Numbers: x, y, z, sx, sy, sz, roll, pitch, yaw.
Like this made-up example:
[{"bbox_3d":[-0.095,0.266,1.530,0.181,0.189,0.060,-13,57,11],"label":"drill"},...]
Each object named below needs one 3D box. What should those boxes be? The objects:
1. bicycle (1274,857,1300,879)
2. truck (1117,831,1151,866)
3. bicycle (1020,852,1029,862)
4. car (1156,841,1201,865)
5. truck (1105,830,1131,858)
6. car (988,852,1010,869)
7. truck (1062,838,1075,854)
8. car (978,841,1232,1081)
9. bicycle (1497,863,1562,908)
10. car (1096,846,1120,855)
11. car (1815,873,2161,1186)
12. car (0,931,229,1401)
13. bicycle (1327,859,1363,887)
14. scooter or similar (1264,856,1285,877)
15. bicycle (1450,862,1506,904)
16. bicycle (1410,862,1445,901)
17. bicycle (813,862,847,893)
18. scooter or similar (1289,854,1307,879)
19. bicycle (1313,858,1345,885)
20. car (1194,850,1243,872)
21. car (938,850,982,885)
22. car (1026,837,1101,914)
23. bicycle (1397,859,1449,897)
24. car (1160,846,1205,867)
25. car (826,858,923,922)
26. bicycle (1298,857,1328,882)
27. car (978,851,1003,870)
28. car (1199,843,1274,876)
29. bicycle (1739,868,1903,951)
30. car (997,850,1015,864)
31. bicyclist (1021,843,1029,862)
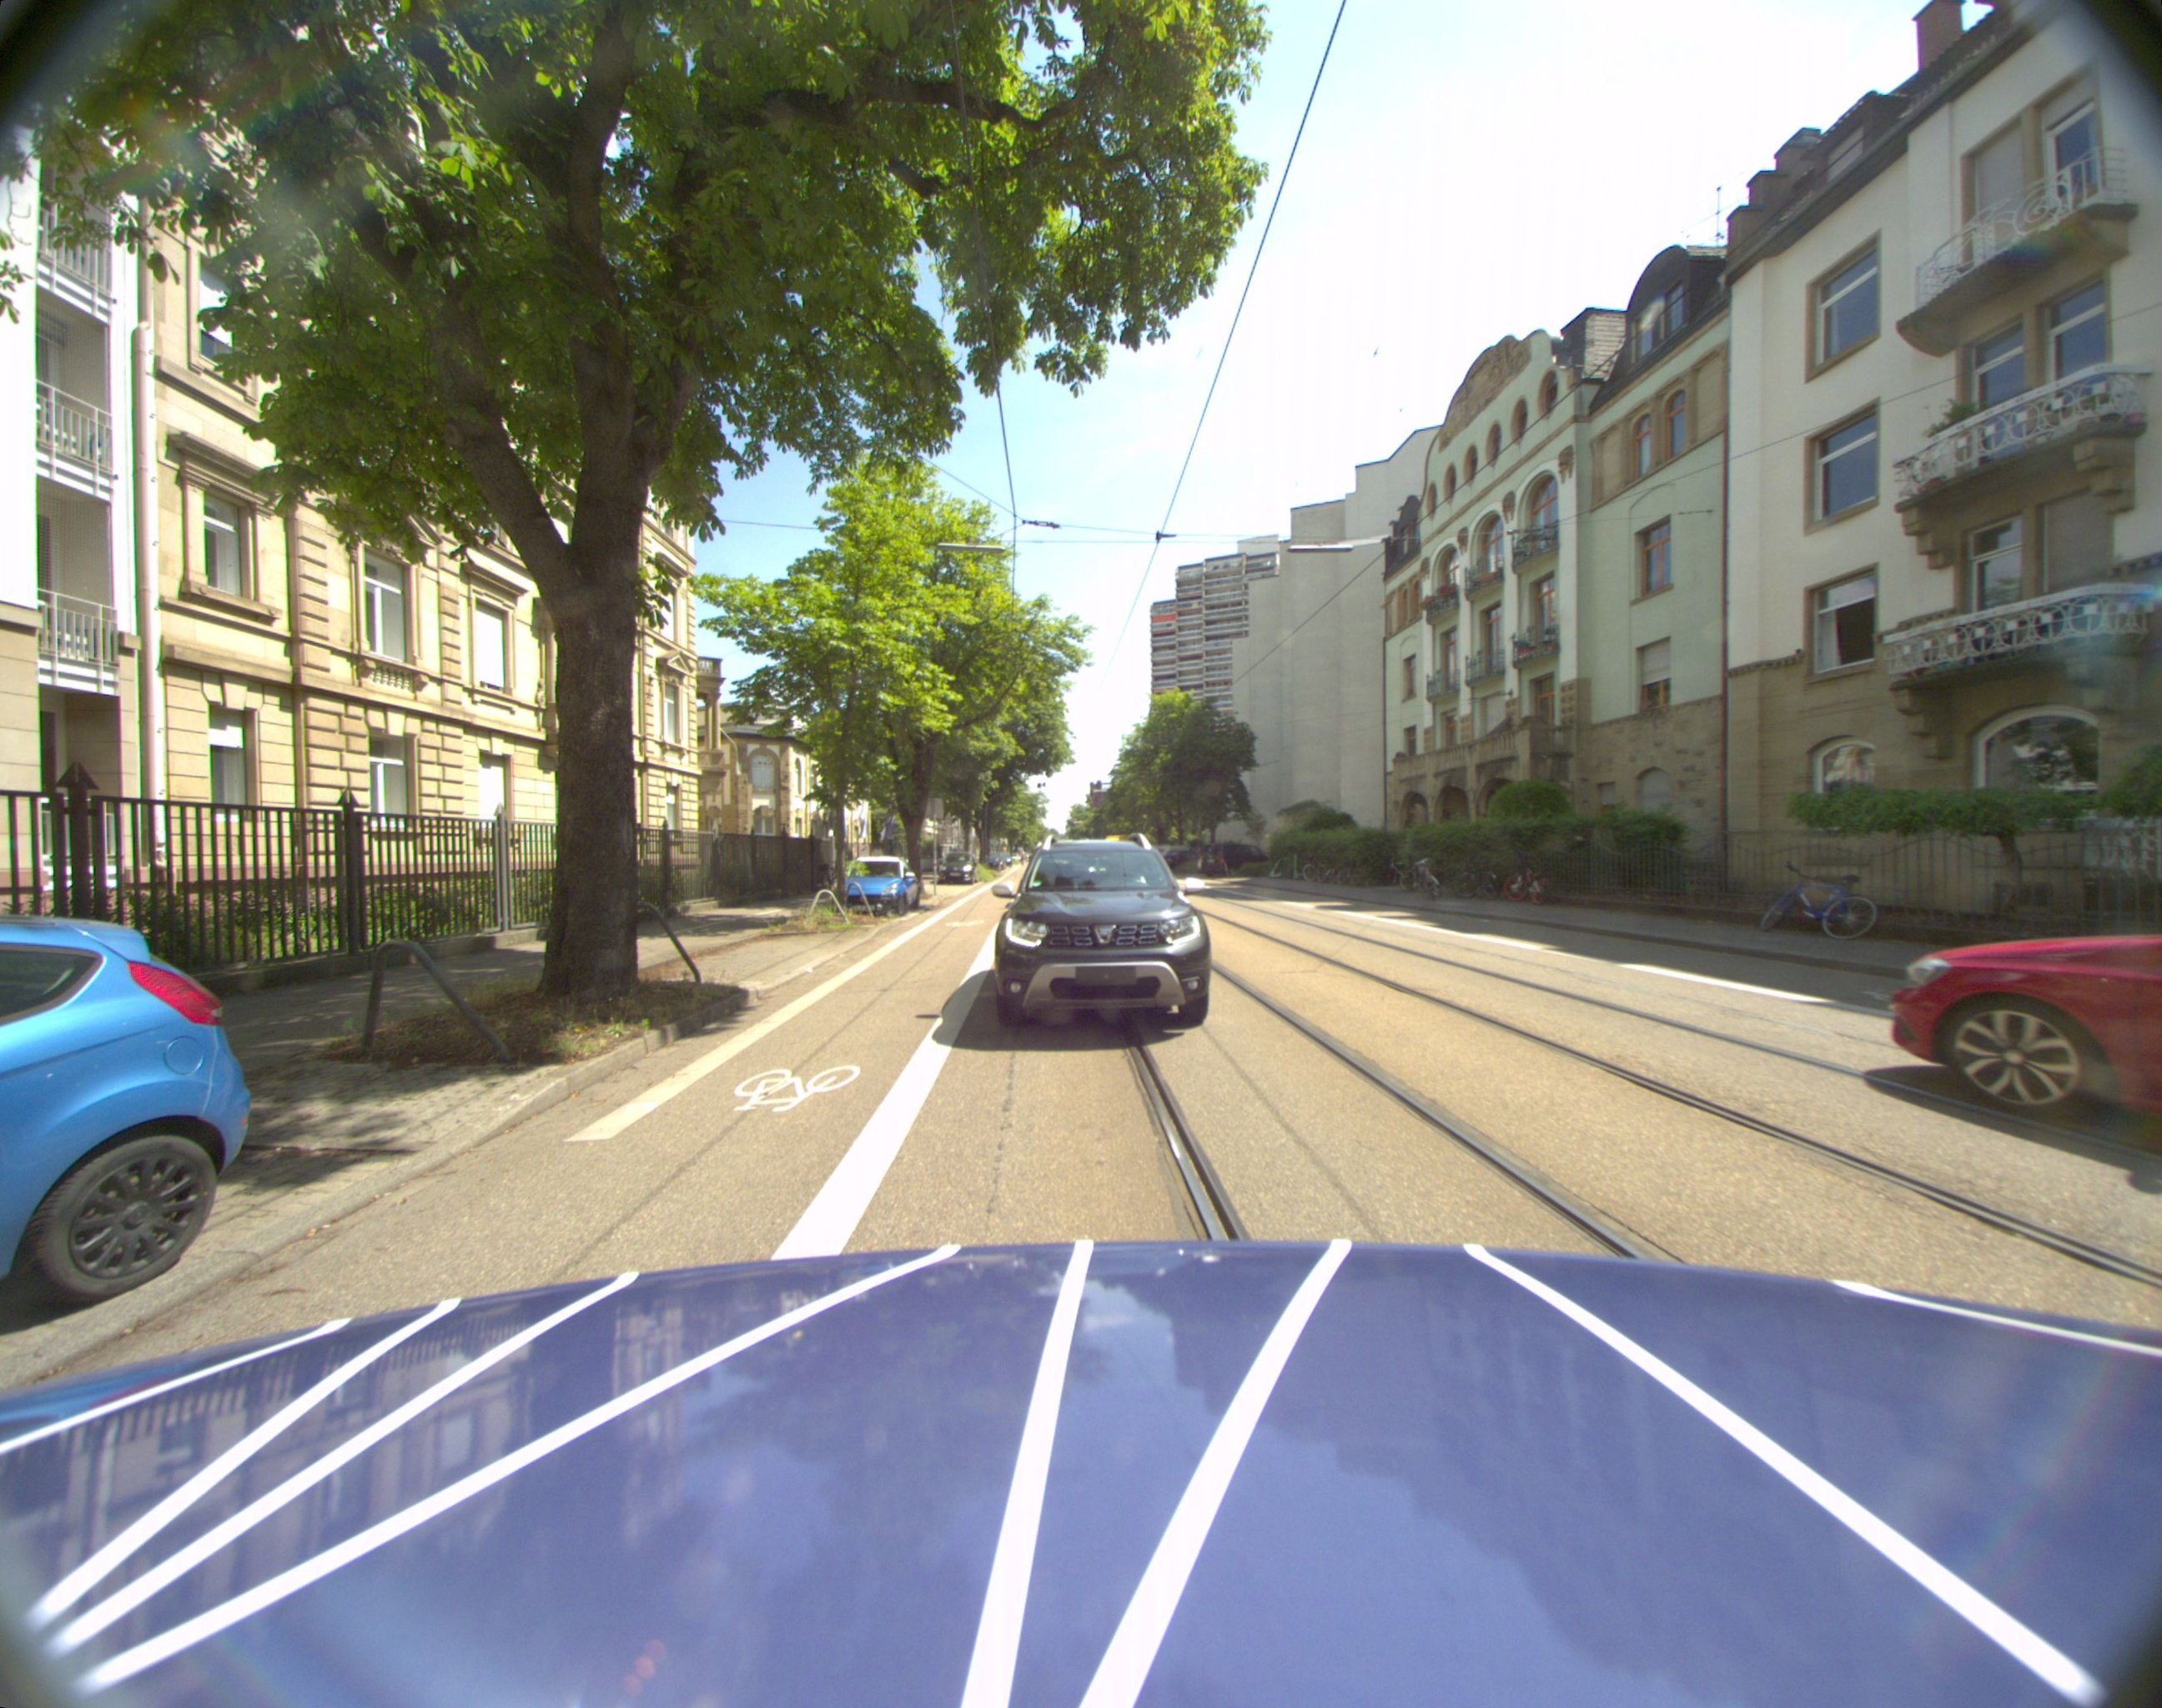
[{"bbox_3d":[9.742,0.641,35.915,0.609,0.983,1.707,-5,1,-3],"label":"bicycle"},{"bbox_3d":[4.505,-0.465,65.659,2.307,2.903,6.513,-1,1,-1],"label":"truck"},{"bbox_3d":[-6.083,0.326,81.699,0.812,1.089,2.172,-1,1,-10],"label":"bicycle"},{"bbox_3d":[8.339,-0.090,64.960,4.061,2.030,1.597,-1,1,-43],"label":"car"},{"bbox_3d":[5.911,-1.549,120.373,2.673,4.156,10.481,0,1,11],"label":"truck"},{"bbox_3d":[-7.200,0.518,66.833,1.626,1.395,3.998,2,0,-3],"label":"car"},{"bbox_3d":[-2.815,-1.790,170.175,2.792,3.599,8.254,-1,1,0],"label":"truck"},{"bbox_3d":[0.089,0.743,7.565,1.753,1.641,4.296,-2,1,-2],"label":"car"},{"bbox_3d":[10.640,0.736,18.096,0.414,0.960,1.725,-4,1,-3],"label":"bicycle"},{"bbox_3d":[5.313,-0.731,150.305,4.338,1.797,1.995,-1,1,-35],"label":"car"},{"bbox_3d":[6.002,0.859,2.927,1.828,1.405,4.426,1,0,-5],"label":"car"},{"bbox_3d":[-4.245,1.054,1.207,1.682,1.435,3.719,-1,1,-4],"label":"car"},{"bbox_3d":[9.983,0.706,28.789,0.609,0.970,1.771,-5,1,-3],"label":"bicycle"},{"bbox_3d":[9.581,0.595,37.680,0.407,1.014,1.222,-1,1,-18],"label":"scooter or similar"},{"bbox_3d":[10.378,0.730,19.928,0.465,0.993,1.707,-4,1,-3],"label":"bicycle"},{"bbox_3d":[9.545,0.736,20.909,0.608,0.993,1.778,0,1,33],"label":"bicycle"},{"bbox_3d":[-9.417,0.867,28.580,0.609,1.065,1.980,-1,1,-1],"label":"bicycle"},{"bbox_3d":[9.801,0.543,34.350,0.407,1.114,1.290,-1,1,-1],"label":"scooter or similar"},{"bbox_3d":[9.989,0.679,30.639,0.609,0.983,1.707,-5,1,-3],"label":"bicycle"},{"bbox_3d":[9.466,0.461,52.164,1.721,1.445,3.635,0,1,41],"label":"car"},{"bbox_3d":[-6.057,0.637,38.474,1.734,1.607,4.082,1,0,-2],"label":"car"},{"bbox_3d":[-0.508,0.515,20.905,1.753,1.806,4.307,-3,1,-2],"label":"car"},{"bbox_3d":[10.361,0.706,23.082,0.609,1.026,1.771,-5,1,-3],"label":"bicycle"},{"bbox_3d":[8.241,0.181,61.620,1.678,1.566,3.692,1,2,45],"label":"car"},{"bbox_3d":[-5.212,0.845,19.592,1.696,1.444,3.472,-1,1,-3],"label":"car"},{"bbox_3d":[9.892,0.666,32.505,0.609,0.983,1.707,-5,1,-3],"label":"bicycle"},{"bbox_3d":[-7.186,0.510,60.589,1.626,1.395,3.821,2,0,-3],"label":"car"},{"bbox_3d":[9.332,0.294,45.491,4.595,1.914,1.956,-1,1,-40],"label":"car"},{"bbox_3d":[10.982,0.776,11.368,0.609,1.059,1.771,-5,1,-3],"label":"bicycle"},{"bbox_3d":[-7.869,0.312,79.490,1.626,1.395,3.998,2,0,-3],"label":"car"},{"bbox_3d":[-6.072,-0.139,81.824,0.774,2.002,0.807,-1,1,-11],"label":"bicyclist"}]
